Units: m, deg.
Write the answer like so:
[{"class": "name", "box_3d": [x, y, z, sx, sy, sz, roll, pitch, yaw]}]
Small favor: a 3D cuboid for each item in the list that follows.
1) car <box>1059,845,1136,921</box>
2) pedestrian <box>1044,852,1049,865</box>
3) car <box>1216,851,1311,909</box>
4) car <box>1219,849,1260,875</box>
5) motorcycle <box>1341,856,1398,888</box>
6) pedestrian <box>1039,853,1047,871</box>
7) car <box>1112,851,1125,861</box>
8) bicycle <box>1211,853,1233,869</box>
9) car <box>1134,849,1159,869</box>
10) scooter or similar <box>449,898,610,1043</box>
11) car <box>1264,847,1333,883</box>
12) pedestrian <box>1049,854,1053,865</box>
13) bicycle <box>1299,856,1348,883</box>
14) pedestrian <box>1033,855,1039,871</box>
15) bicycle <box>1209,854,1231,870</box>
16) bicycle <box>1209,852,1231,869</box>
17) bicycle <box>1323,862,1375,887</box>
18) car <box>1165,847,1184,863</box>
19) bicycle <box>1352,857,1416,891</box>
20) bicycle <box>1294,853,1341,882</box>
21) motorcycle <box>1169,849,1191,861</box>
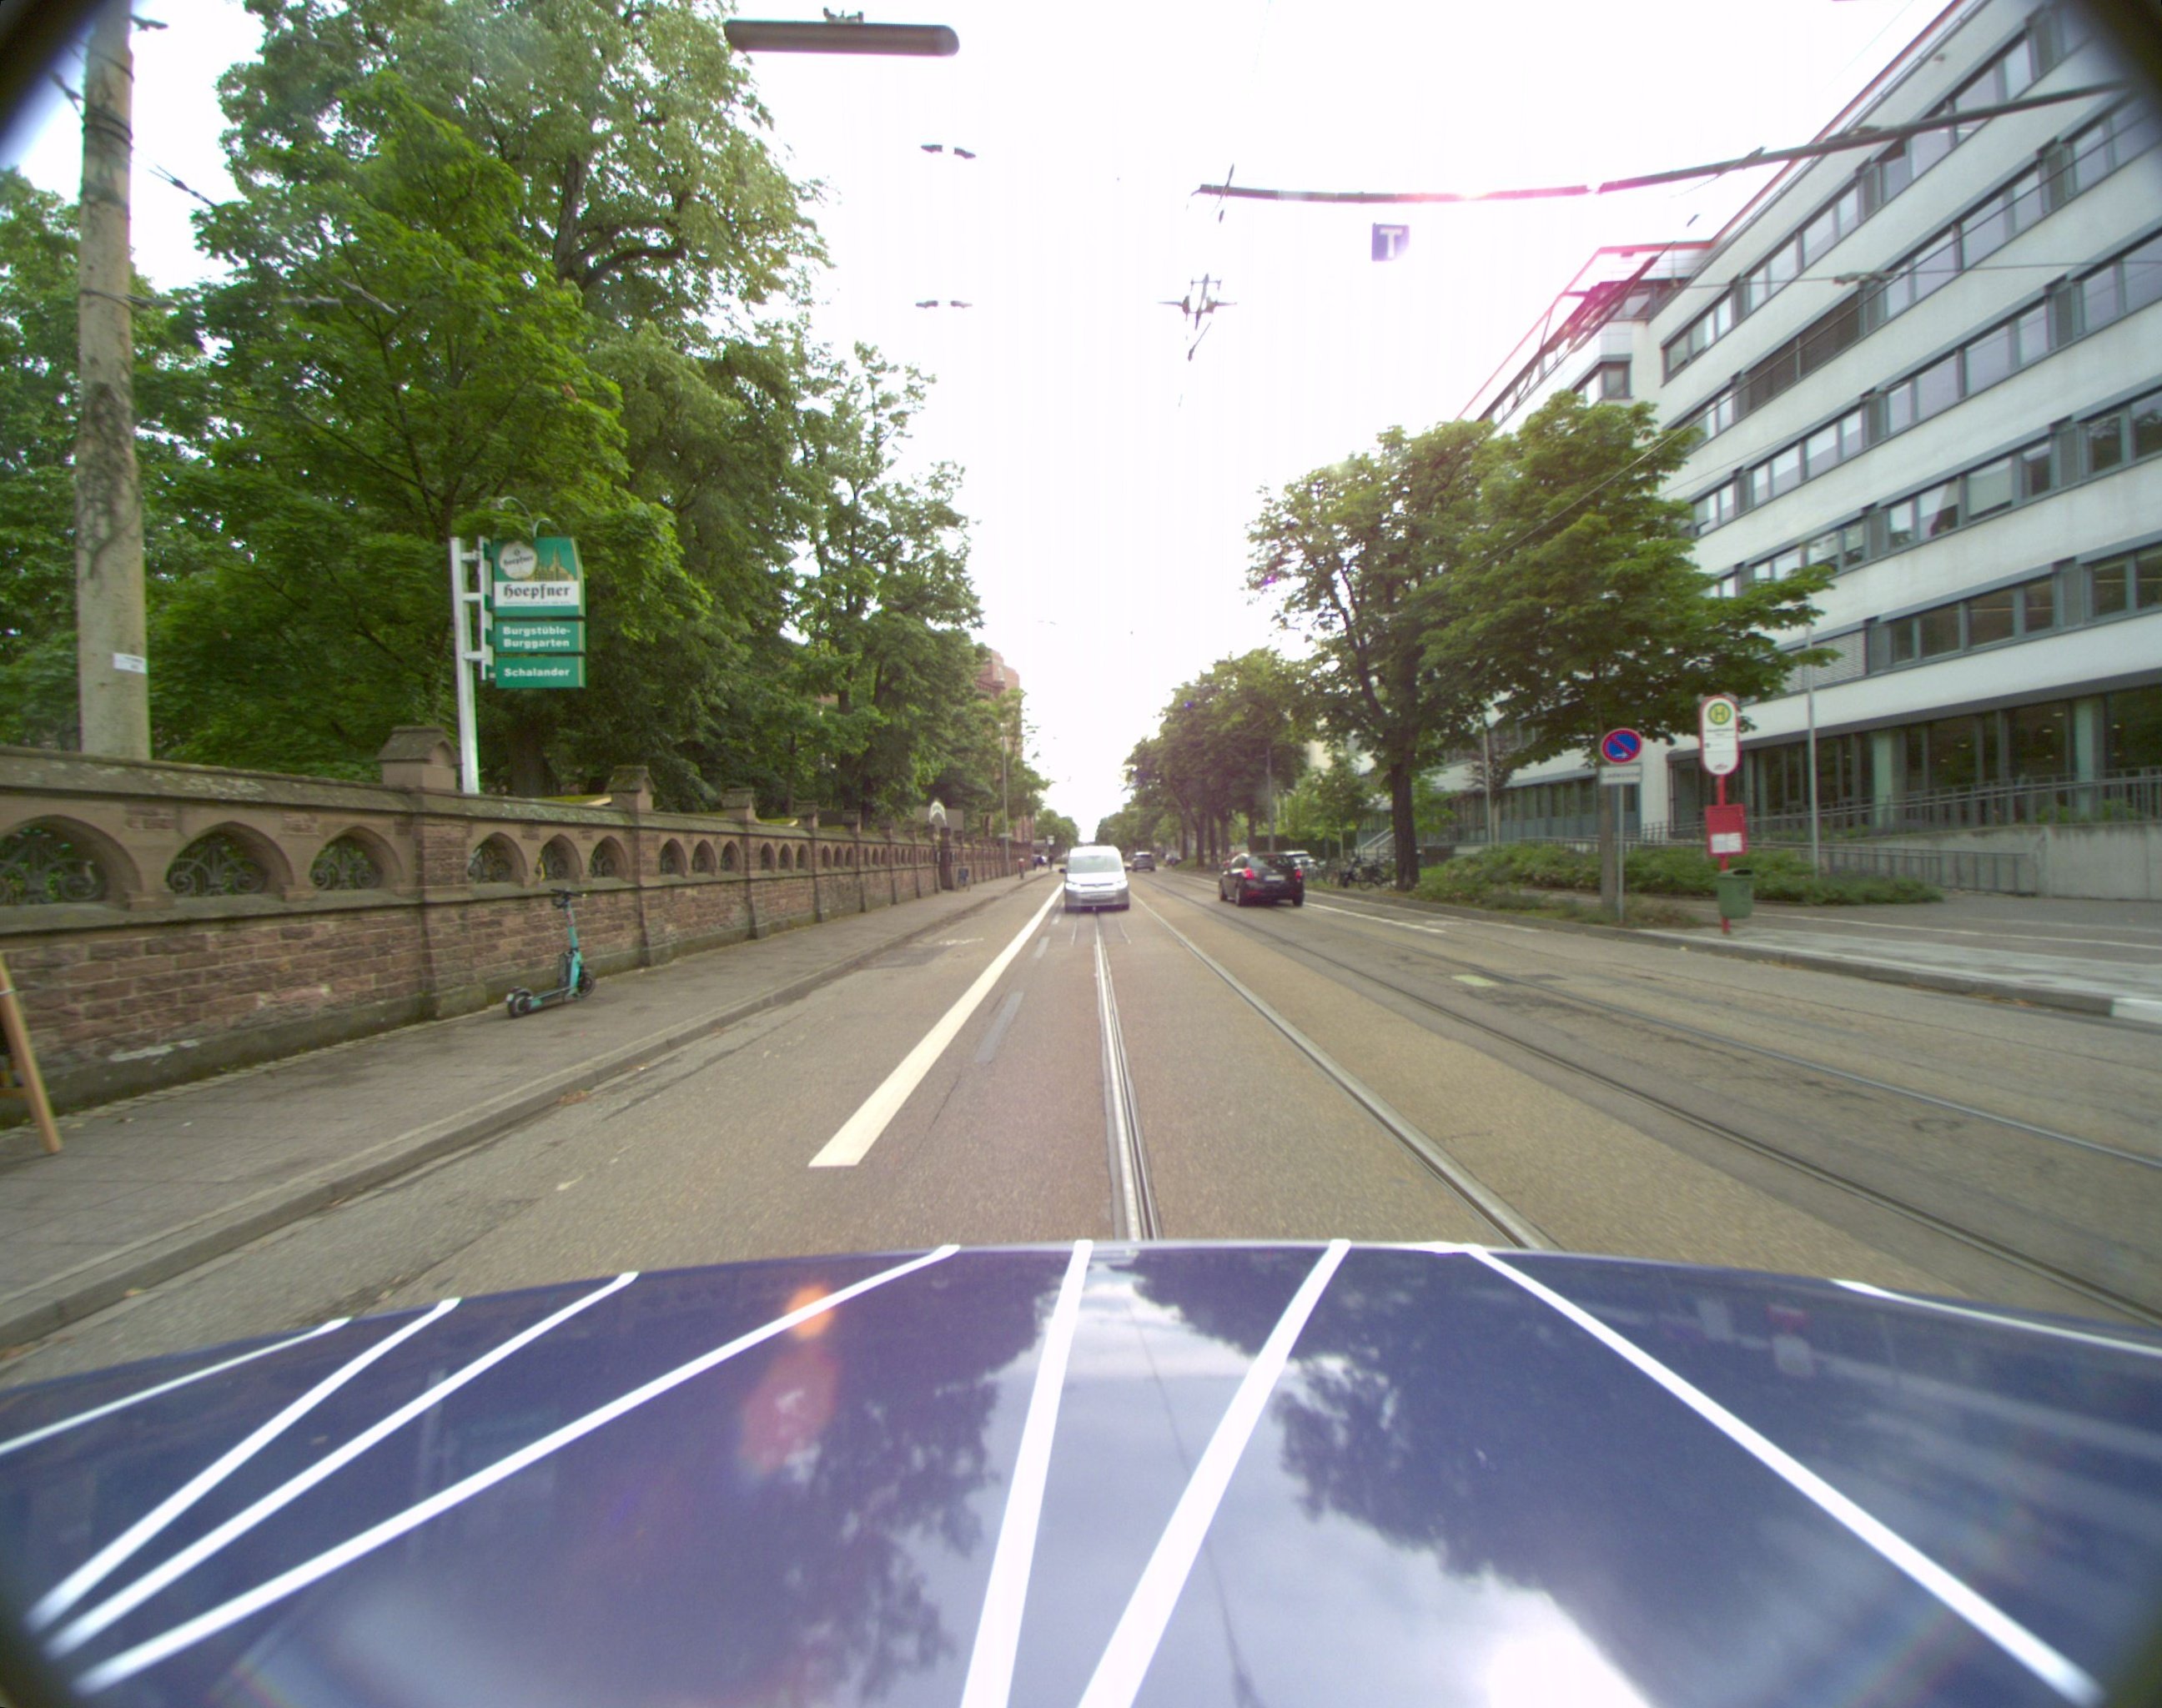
[{"class": "car", "box_3d": [0.463, 0.708, 21.787, 1.850, 1.797, 4.936, -3, 1, 1]}, {"class": "pedestrian", "box_3d": [-4.657, 0.658, 102.049, 0.669, 1.703, 0.997, 2, 1, -2]}, {"class": "car", "box_3d": [5.072, 0.684, 21.624, 1.752, 1.477, 4.063, -1, 0, 1]}, {"class": "car", "box_3d": [10.204, 0.480, 49.199, 1.632, 1.439, 3.756, -5, 1, -2]}, {"class": "motorcycle", "box_3d": [10.462, 0.645, 27.577, 1.793, 1.044, 0.732, -3, 1, -6]}, {"class": "pedestrian", "box_3d": [-3.998, 0.822, 80.008, 0.723, 1.834, 0.897, 0, 1, -2]}, {"class": "car", "box_3d": [5.897, 0.297, 120.020, 1.745, 1.490, 4.260, -2, 1, -1]}, {"class": "bicycle", "box_3d": [10.556, 0.504, 56.846, 1.473, 1.134, 0.617, -2, 1, 0]}, {"class": "car", "box_3d": [5.638, 0.395, 65.859, 1.846, 1.644, 4.389, 0, 0, 1]}, {"class": "scooter or similar", "box_3d": [-5.533, 1.118, 7.724, 0.578, 1.232, 1.410, 2, 1, 1]}, {"class": "car", "box_3d": [10.207, 0.462, 35.962, 1.886, 1.485, 4.753, -3, 0, 1]}, {"class": "pedestrian", "box_3d": [-4.037, 0.728, 102.186, 0.529, 1.548, 0.489, 2, 1, -2]}, {"class": "bicycle", "box_3d": [10.097, 0.646, 31.668, 1.811, 1.094, 0.632, -1, 2, -5]}, {"class": "pedestrian", "box_3d": [-4.723, 0.917, 79.896, 0.559, 1.646, 0.771, 0, 1, -2]}, {"class": "bicycle", "box_3d": [10.214, 0.589, 55.849, 1.474, 1.085, 0.616, -4, 1, -11]}, {"class": "bicycle", "box_3d": [10.514, 0.499, 57.352, 1.473, 1.134, 0.617, -3, 1, 0]}, {"class": "bicycle", "box_3d": [10.322, 0.771, 29.275, 1.811, 0.894, 0.632, -1, 2, -5]}, {"class": "car", "box_3d": [10.677, 0.065, 86.845, 1.815, 1.699, 4.000, -3, 1, 4]}, {"class": "bicycle", "box_3d": [10.129, 0.663, 25.424, 1.834, 1.047, 0.741, -2, 0, -8]}, {"class": "bicycle", "box_3d": [10.184, 0.573, 32.744, 1.868, 1.180, 0.632, -1, 1, 5]}, {"class": "motorcycle", "box_3d": [10.128, 0.080, 78.055, 2.128, 1.096, 0.776, -2, 2, 42]}]
